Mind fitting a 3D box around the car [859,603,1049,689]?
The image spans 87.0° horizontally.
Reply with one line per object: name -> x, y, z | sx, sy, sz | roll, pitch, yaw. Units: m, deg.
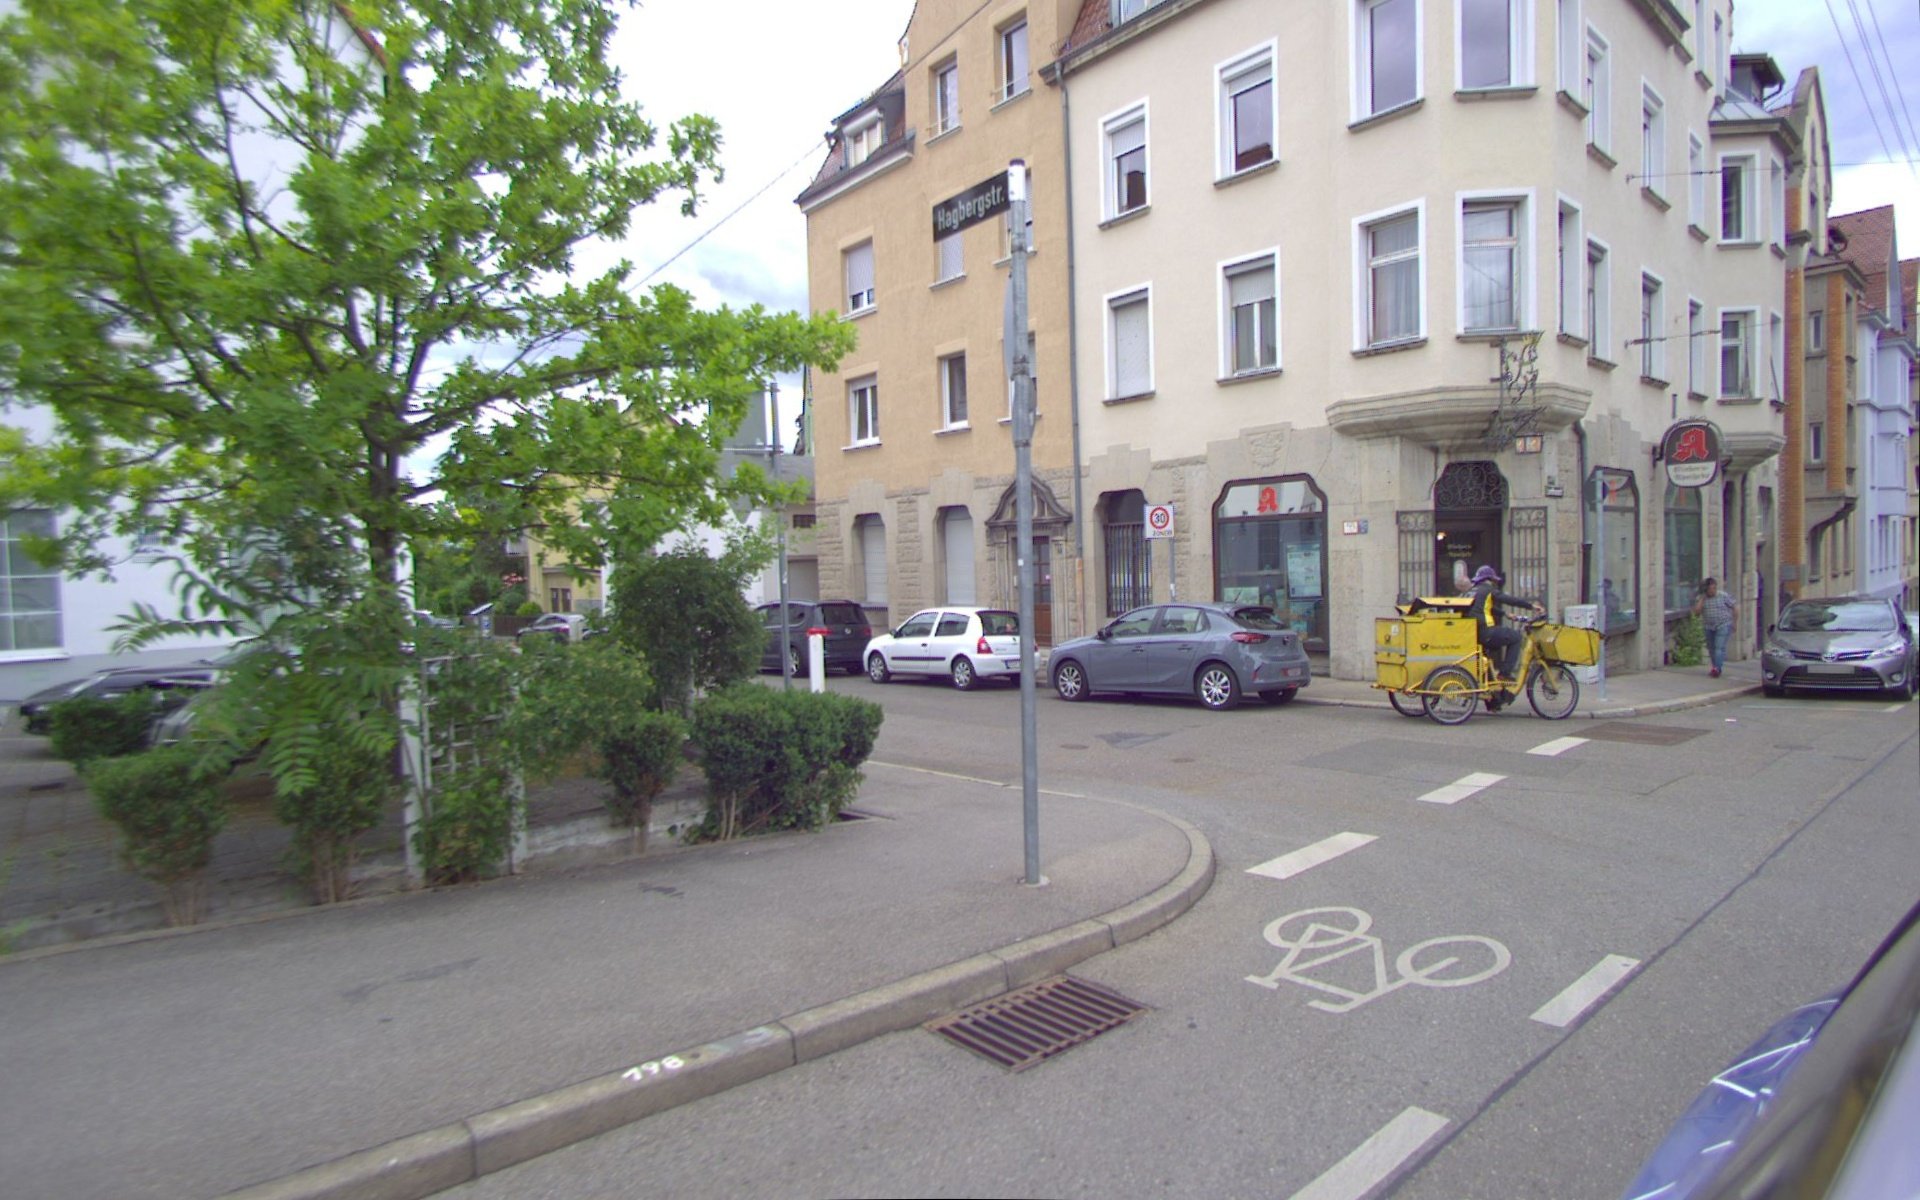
car -> -0.182, 0.776, 18.410 | 1.554, 1.406, 3.436 | 1, -1, -43

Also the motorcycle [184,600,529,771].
motorcycle -> -5.086, 0.642, 8.661 | 2.346, 1.118, 0.928 | -5, 2, -43

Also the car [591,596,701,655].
car -> -9.291, 0.729, 29.798 | 1.554, 1.602, 3.978 | 1, -1, -43

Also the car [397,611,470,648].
car -> -23.767, 1.303, 45.648 | 1.829, 1.602, 4.382 | 1, -1, -43

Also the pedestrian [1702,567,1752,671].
pedestrian -> 13.818, 0.336, 18.234 | 0.621, 1.826, 0.600 | 0, -1, -41

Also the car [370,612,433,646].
car -> -27.668, 1.419, 50.051 | 1.829, 1.602, 3.978 | 1, -1, -43

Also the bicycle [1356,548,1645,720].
bicycle -> 6.175, 0.378, 11.731 | 2.677, 1.890, 1.182 | 0, -1, 1

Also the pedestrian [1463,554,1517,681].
pedestrian -> 7.596, 0.244, 14.523 | 0.482, 1.790, 0.485 | 0, -1, -8

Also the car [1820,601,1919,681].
car -> 18.347, 0.755, 19.782 | 4.612, 1.408, 1.781 | 1, -2, -43

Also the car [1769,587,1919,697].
car -> 14.657, 0.629, 16.459 | 4.498, 1.557, 1.736 | 1, -2, -44

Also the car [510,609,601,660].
car -> -13.652, 1.118, 34.043 | 1.554, 1.602, 3.978 | 1, -1, -43

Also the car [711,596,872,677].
car -> -3.748, 0.754, 22.092 | 1.554, 1.602, 3.978 | 1, -1, -43

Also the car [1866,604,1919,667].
car -> 22.919, 0.801, 23.989 | 4.234, 1.408, 1.751 | 1, -2, -43

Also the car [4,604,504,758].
car -> -7.608, 0.807, 11.224 | 4.251, 1.372, 1.912 | 3, -3, -43

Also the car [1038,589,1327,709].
car -> 3.053, 0.630, 14.462 | 1.554, 1.483, 3.850 | 1, -1, -43
